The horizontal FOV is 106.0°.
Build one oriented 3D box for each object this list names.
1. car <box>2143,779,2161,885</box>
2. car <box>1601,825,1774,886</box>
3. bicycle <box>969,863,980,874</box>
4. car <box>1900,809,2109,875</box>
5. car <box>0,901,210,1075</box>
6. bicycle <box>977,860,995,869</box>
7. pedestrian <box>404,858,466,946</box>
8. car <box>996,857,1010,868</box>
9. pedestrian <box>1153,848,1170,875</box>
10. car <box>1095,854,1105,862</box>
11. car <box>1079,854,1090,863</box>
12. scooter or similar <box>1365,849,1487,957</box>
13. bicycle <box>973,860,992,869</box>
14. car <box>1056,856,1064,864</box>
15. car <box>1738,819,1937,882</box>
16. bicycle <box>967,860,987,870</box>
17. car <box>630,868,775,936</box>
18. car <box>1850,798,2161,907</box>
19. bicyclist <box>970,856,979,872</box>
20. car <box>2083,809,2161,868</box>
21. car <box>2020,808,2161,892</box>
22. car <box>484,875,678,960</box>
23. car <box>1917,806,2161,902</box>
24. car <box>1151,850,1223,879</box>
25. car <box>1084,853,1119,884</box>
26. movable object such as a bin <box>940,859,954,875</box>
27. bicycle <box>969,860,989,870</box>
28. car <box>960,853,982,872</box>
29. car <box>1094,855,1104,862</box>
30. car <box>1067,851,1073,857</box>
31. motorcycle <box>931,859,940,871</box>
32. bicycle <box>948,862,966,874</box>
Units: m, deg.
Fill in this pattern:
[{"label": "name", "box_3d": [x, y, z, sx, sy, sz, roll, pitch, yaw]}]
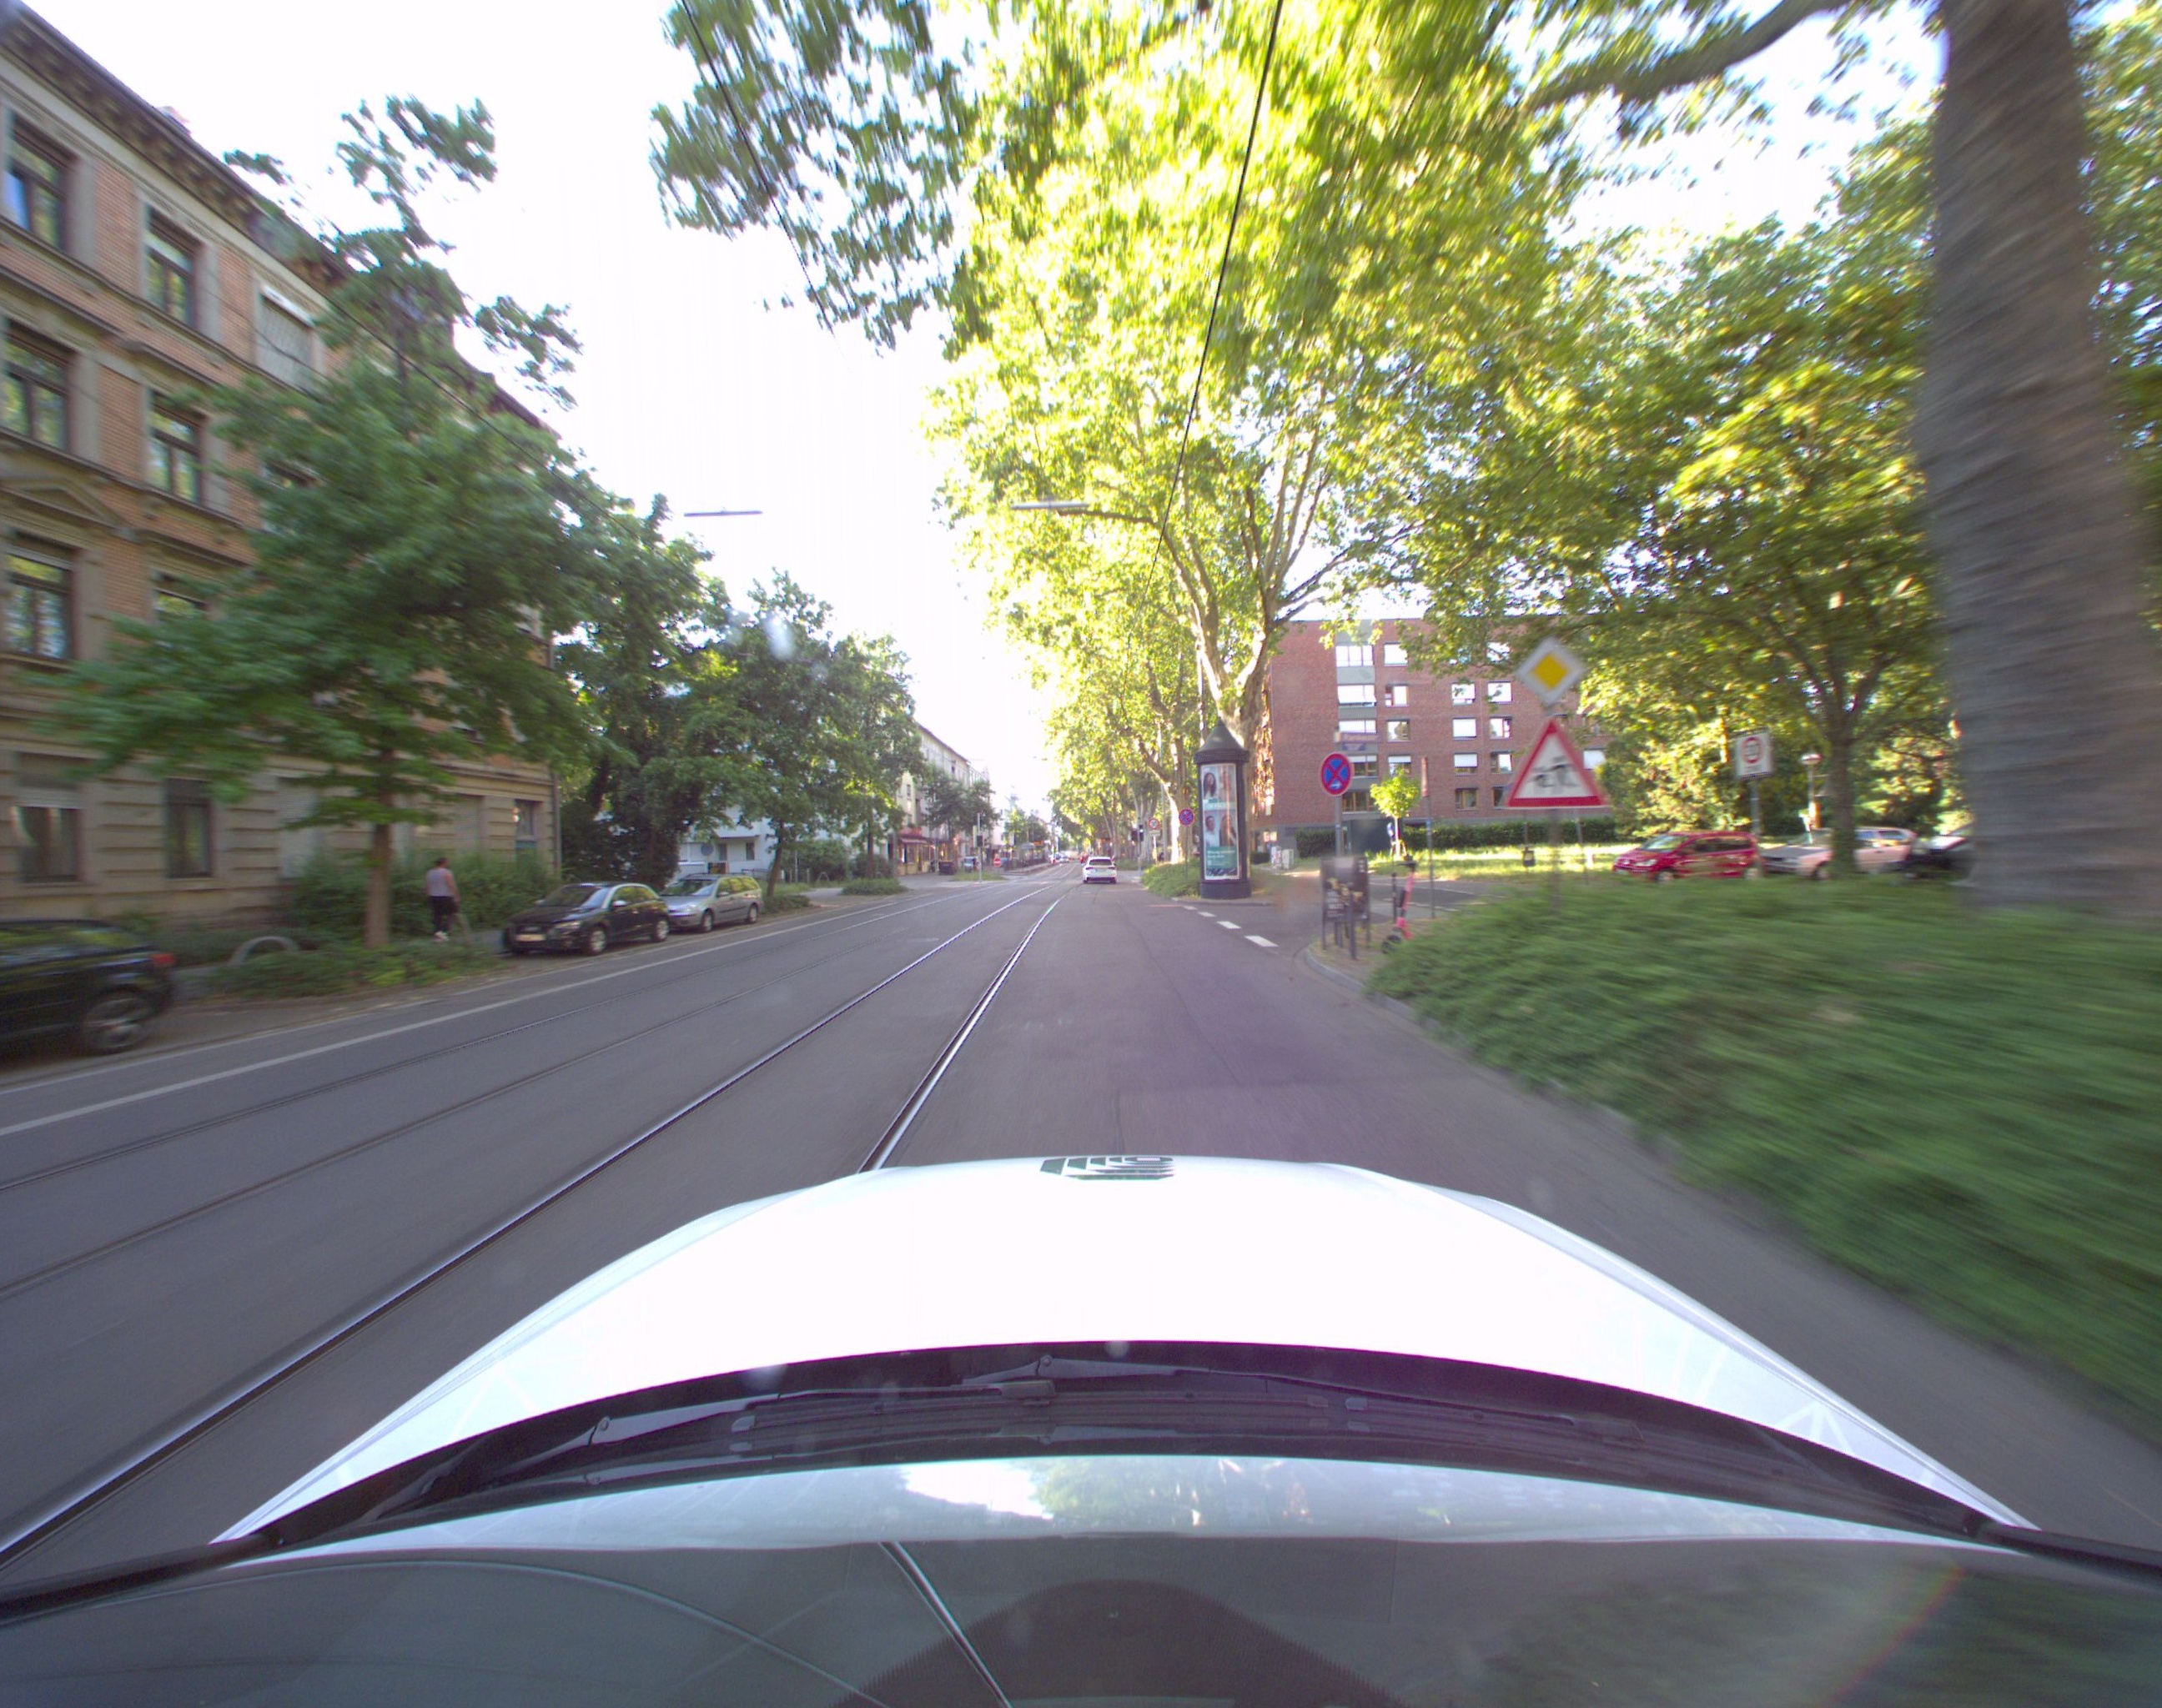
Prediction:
[{"label": "car", "box_3d": [23.375, -0.489, 14.591, 1.907, 2.184, 5.079, -3, 0, -3]}, {"label": "car", "box_3d": [16.622, 0.036, 22.421, 3.529, 1.452, 1.682, -3, 0, -2]}, {"label": "bicycle", "box_3d": [-9.815, 1.318, 75.040, 0.639, 0.987, 2.100, -3, 0, -1]}, {"label": "car", "box_3d": [25.294, -0.318, 22.387, 3.907, 1.581, 1.682, -3, 0, -2]}, {"label": "car", "box_3d": [-10.635, 1.292, 6.922, 1.847, 1.458, 4.268, -2, 0, -1]}, {"label": "bicycle", "box_3d": [-11.963, 1.292, 102.484, 2.245, 1.074, 0.636, 1, 0, 1]}, {"label": "pedestrian", "box_3d": [-13.956, 1.017, 17.605, 0.739, 1.847, 0.728, -1, 0, -2]}, {"label": "car", "box_3d": [-11.450, 1.233, 119.688, 1.588, 1.548, 3.999, 0, 0, 0]}, {"label": "pedestrian", "box_3d": [5.488, 0.489, 55.567, 0.993, 1.811, 0.862, -3, 0, -6]}, {"label": "car", "box_3d": [3.983, 0.863, 168.888, 1.987, 1.453, 3.999, -2, 0, 0]}, {"label": "car", "box_3d": [0.600, 0.831, 146.297, 1.782, 1.513, 3.999, -2, 0, 0]}, {"label": "scooter or similar", "box_3d": [4.254, 0.591, 10.088, 1.205, 1.240, 0.569, -3, -1, -2]}, {"label": "bicycle", "box_3d": [-11.969, 1.267, 98.907, 2.245, 1.074, 0.636, 1, 0, 1]}, {"label": "car", "box_3d": [-4.413, 1.266, 171.737, 1.688, 1.419, 3.999, -2, 0, 0]}, {"label": "car", "box_3d": [20.515, -0.098, 22.174, 3.907, 1.452, 1.682, -3, 0, -2]}, {"label": "bicycle", "box_3d": [-11.966, 1.259, 93.563, 2.245, 1.074, 0.636, 1, 0, 1]}, {"label": "car", "box_3d": [-10.353, 1.246, 22.698, 1.692, 1.550, 4.540, -1, 0, 3]}, {"label": "car", "box_3d": [16.387, -0.059, 13.989, 1.786, 1.574, 4.569, -3, 0, -5]}, {"label": "bicyclist", "box_3d": [-9.847, 0.902, 75.050, 0.639, 1.455, 0.837, -3, 0, -1]}, {"label": "car", "box_3d": [31.143, -0.508, 22.923, 3.907, 1.581, 1.682, -3, 0, -2]}, {"label": "car", "box_3d": [21.139, -0.108, 15.202, 1.785, 1.574, 4.572, -3, 0, -4]}, {"label": "car", "box_3d": [-10.379, 1.253, 17.299, 1.653, 1.445, 3.948, -1, 0, 0]}, {"label": "car", "box_3d": [18.598, -0.030, 14.840, 1.786, 1.574, 4.569, -3, 0, -5]}, {"label": "car", "box_3d": [5.970, 0.580, 46.228, 3.869, 1.423, 1.650, -2, 0, 3]}, {"label": "car", "box_3d": [1.059, 0.739, 44.137, 1.782, 1.513, 3.999, -2, 0, 0]}, {"label": "movable object such as a bin", "box_3d": [-12.253, 1.193, 74.344, 1.167, 1.348, 0.782, 2, 0, -4]}, {"label": "bicycle", "box_3d": [-11.915, 1.275, 95.210, 2.245, 1.074, 0.636, 1, 0, 1]}, {"label": "car", "box_3d": [-11.823, 0.886, 87.554, 1.682, 1.940, 3.999, -2, 0, 0]}, {"label": "car", "box_3d": [3.815, 0.884, 173.973, 1.987, 1.453, 3.999, -2, 0, 0]}, {"label": "car", "box_3d": [-3.209, 0.014, 239.238, 1.860, 1.892, 3.999, -2, 0, 0]}, {"label": "motorcycle", "box_3d": [-15.448, 1.162, 86.485, 0.597, 1.311, 2.222, -2, 0, 0]}, {"label": "bicycle", "box_3d": [-11.593, 1.347, 76.420, 1.529, 1.075, 0.885, 1, 0, -1]}]
